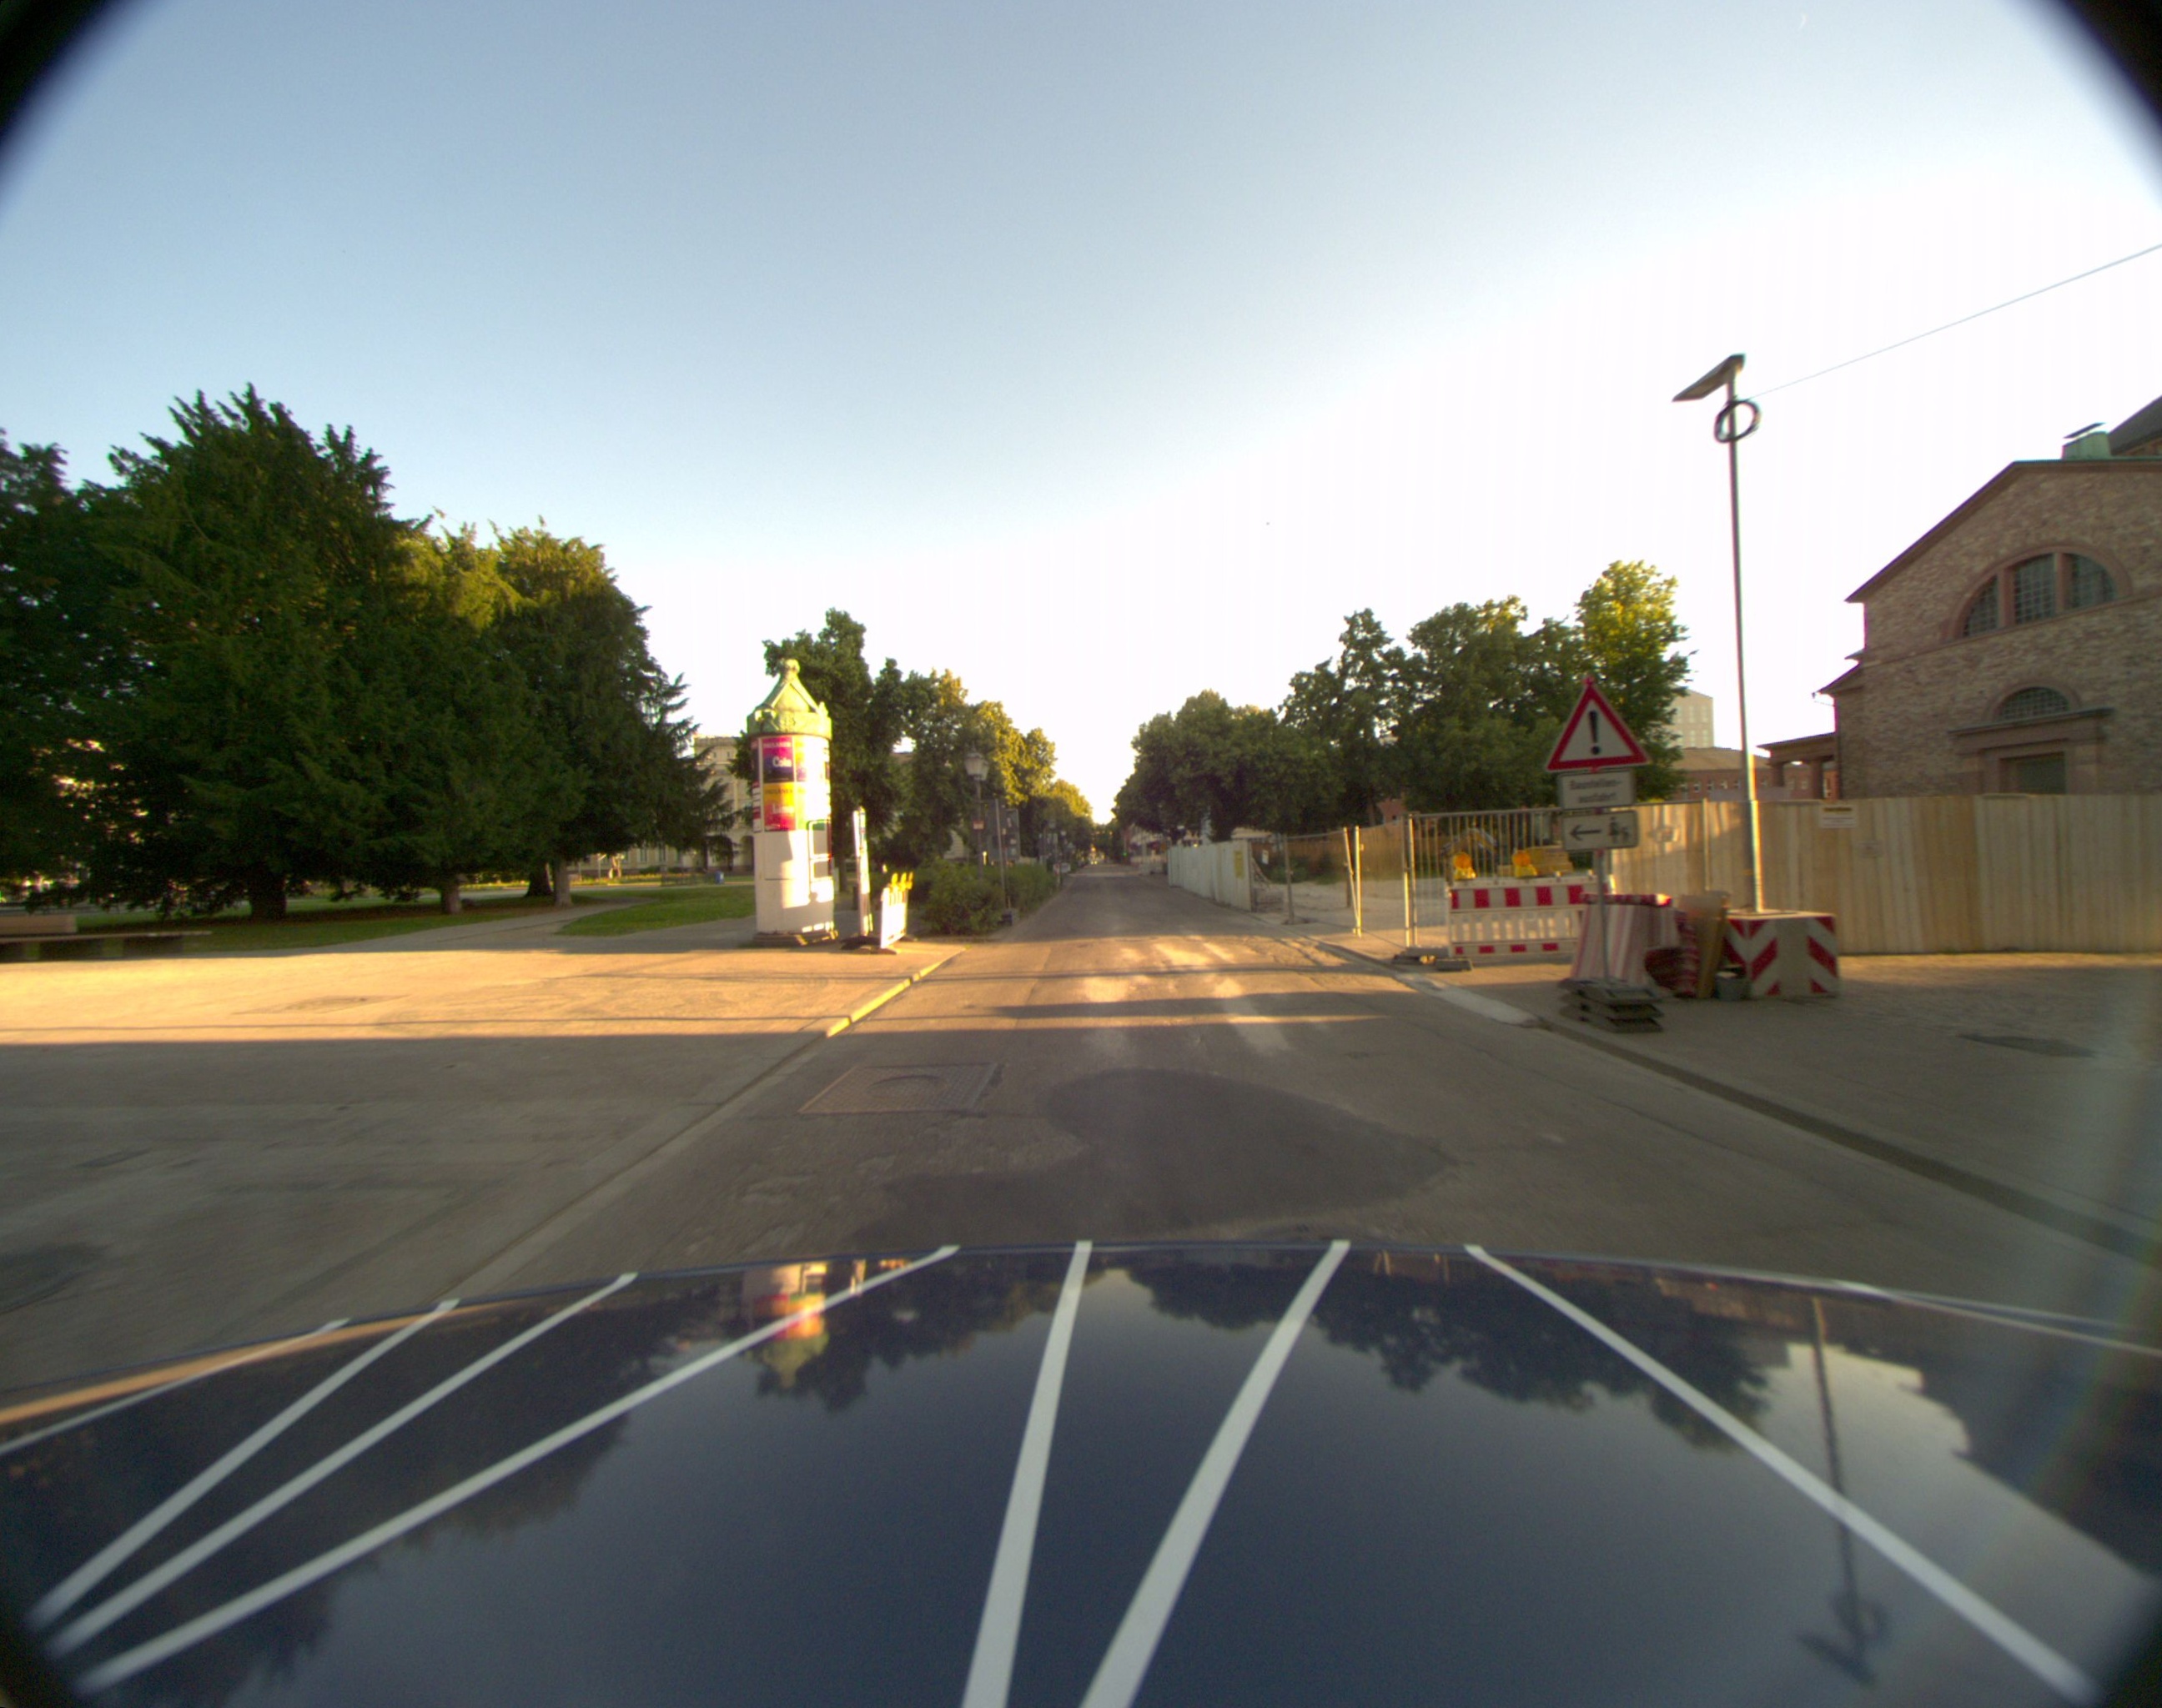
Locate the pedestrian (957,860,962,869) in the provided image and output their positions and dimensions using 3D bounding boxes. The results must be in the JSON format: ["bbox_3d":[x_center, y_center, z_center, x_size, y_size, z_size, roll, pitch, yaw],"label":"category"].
[{"bbox_3d":[-17.198,1.474,107.675,0.605,1.195,0.394,-2,1,-40],"label":"pedestrian"}]

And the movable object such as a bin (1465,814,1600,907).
[{"bbox_3d":[13.669,0.176,23.120,2.161,2.588,2.743,-2,1,-21],"label":"movable object such as a bin"}]

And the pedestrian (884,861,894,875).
[{"bbox_3d":[-21.601,1.570,85.329,0.858,1.616,0.757,-2,0,0],"label":"pedestrian"}]

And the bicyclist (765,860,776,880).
[{"bbox_3d":[-25.600,1.322,62.544,0.678,1.622,0.657,-2,1,-33],"label":"bicyclist"}]

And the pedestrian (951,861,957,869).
[{"bbox_3d":[-17.872,1.562,107.100,0.605,1.102,0.394,-2,1,-44],"label":"pedestrian"}]

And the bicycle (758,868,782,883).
[{"bbox_3d":[-25.592,1.756,62.549,1.778,1.170,0.564,-2,1,-34],"label":"bicycle"}]
